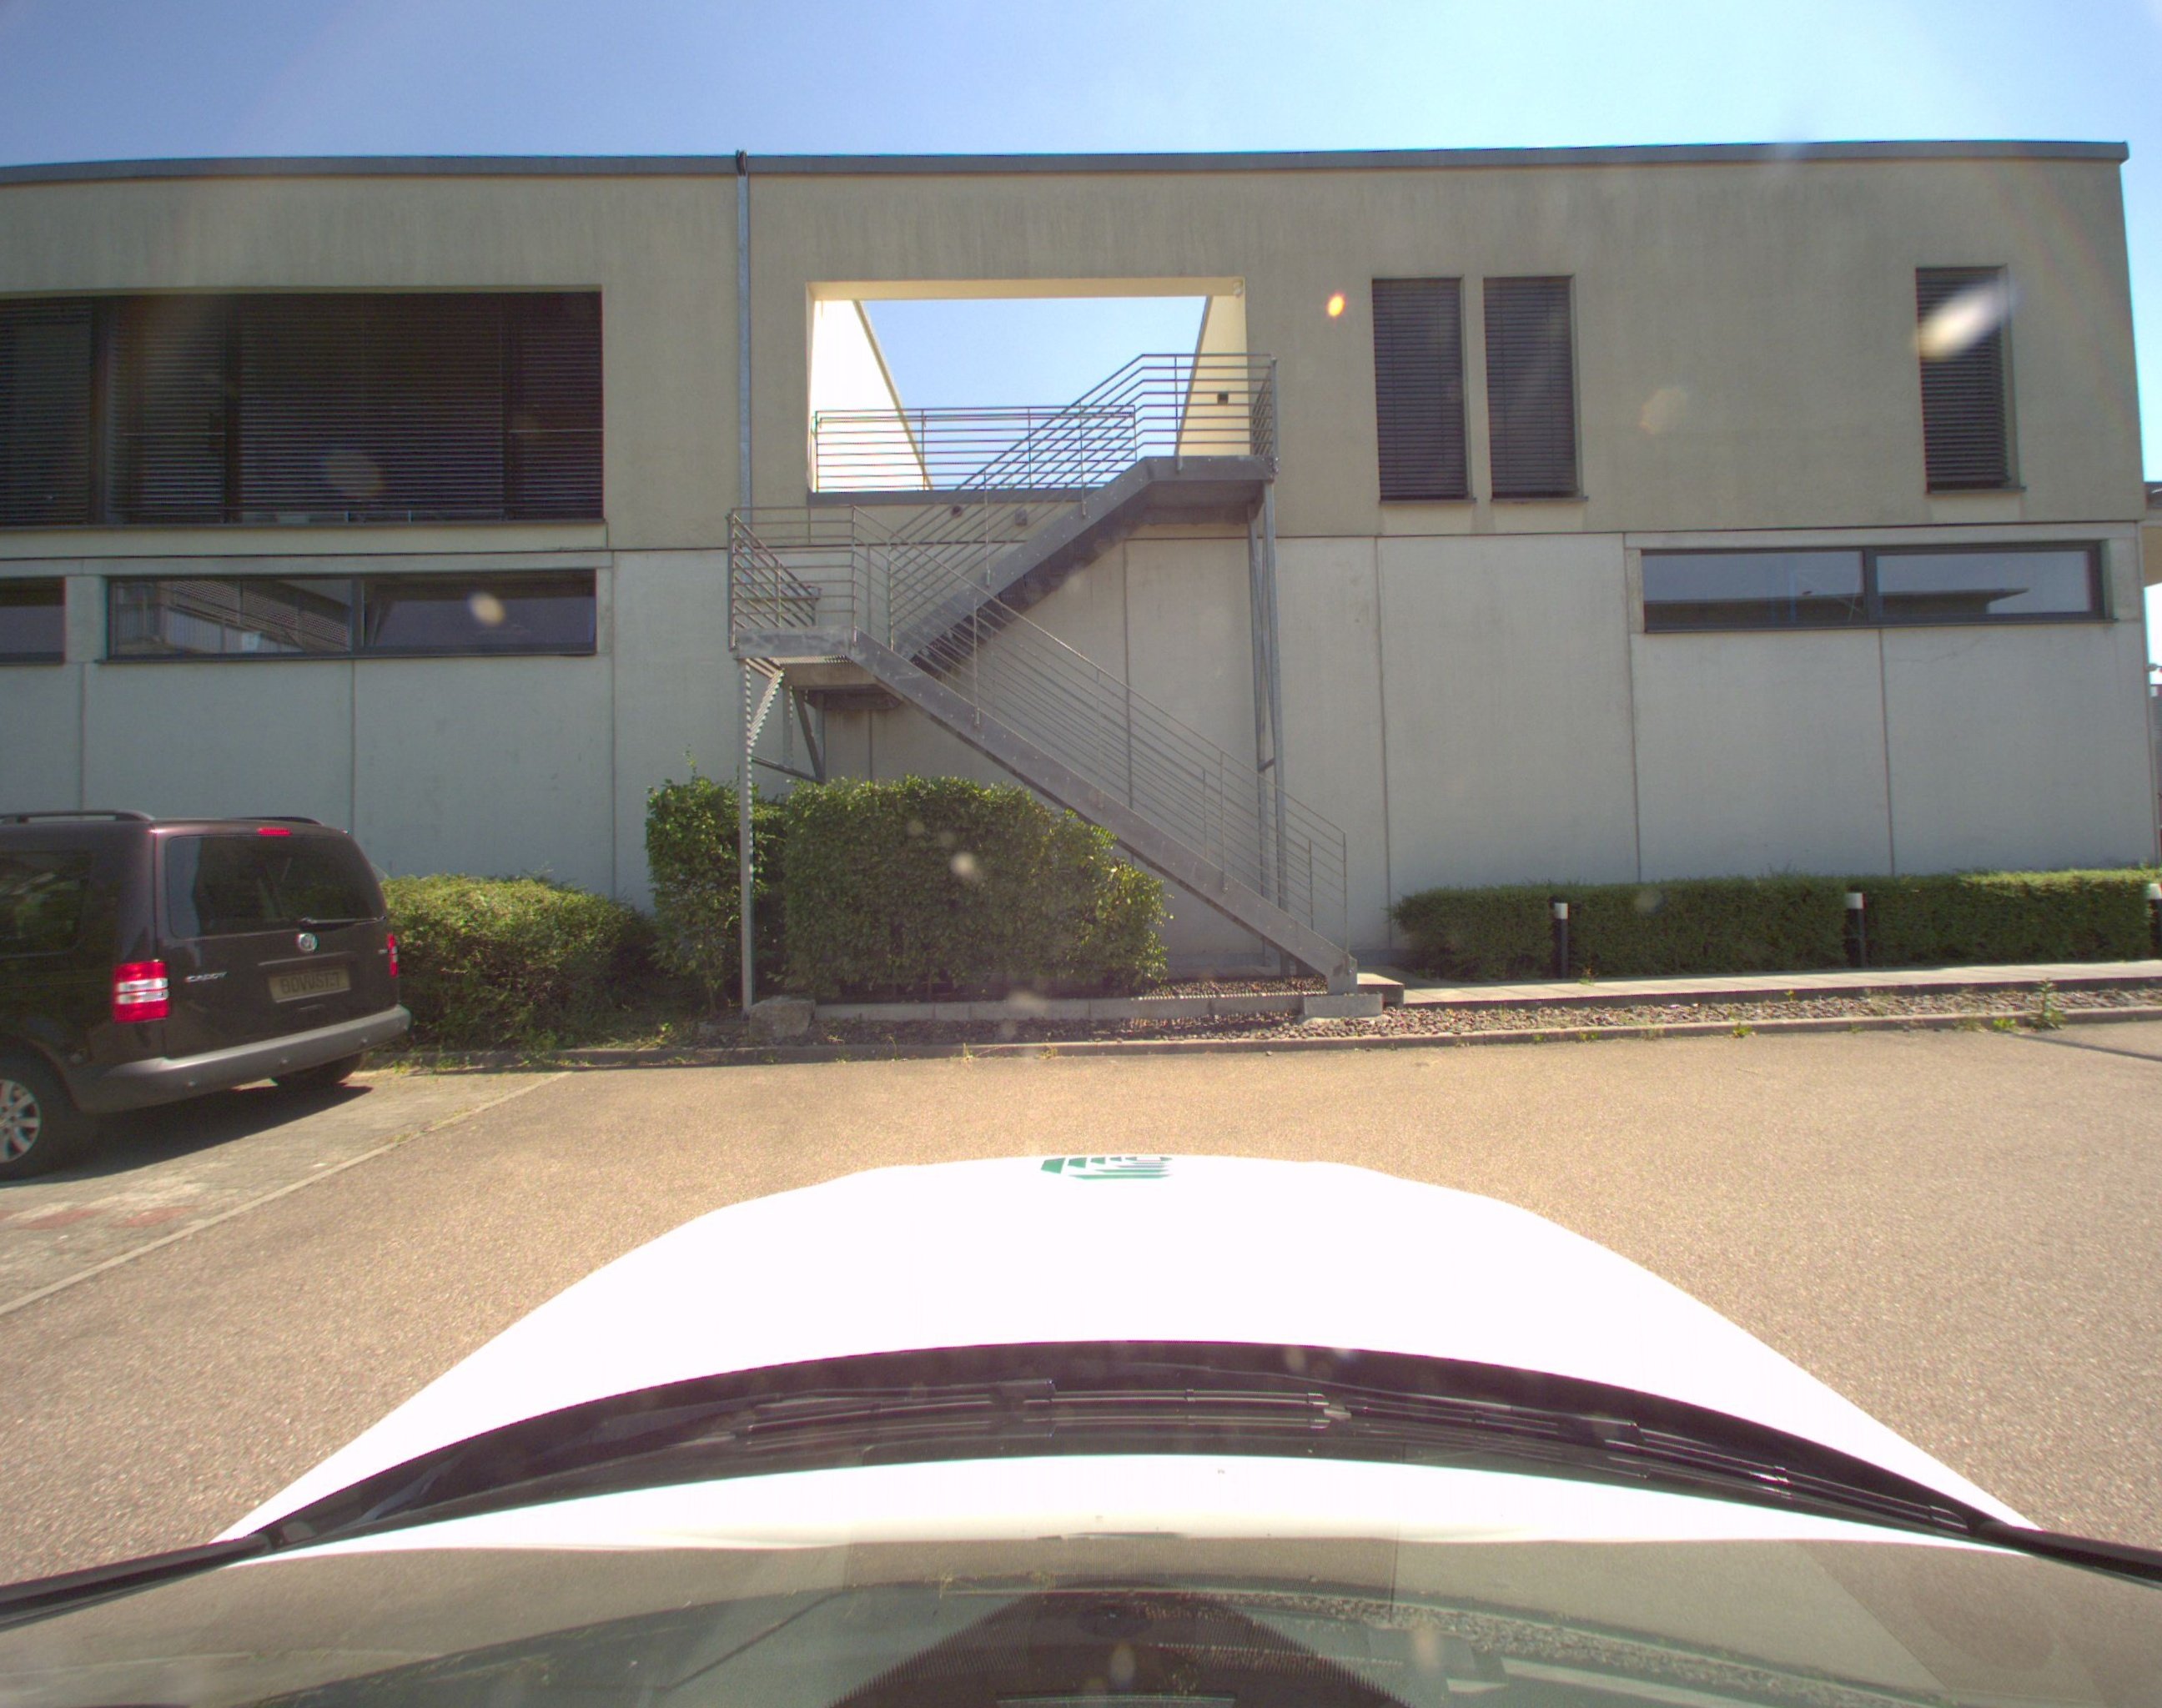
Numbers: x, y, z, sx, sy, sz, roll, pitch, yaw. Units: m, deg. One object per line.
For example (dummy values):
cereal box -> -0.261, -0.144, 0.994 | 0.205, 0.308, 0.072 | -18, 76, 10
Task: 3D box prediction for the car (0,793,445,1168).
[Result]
car -> -6.583, 0.678, 4.967 | 4.044, 1.884, 1.679 | -1, 0, 0
